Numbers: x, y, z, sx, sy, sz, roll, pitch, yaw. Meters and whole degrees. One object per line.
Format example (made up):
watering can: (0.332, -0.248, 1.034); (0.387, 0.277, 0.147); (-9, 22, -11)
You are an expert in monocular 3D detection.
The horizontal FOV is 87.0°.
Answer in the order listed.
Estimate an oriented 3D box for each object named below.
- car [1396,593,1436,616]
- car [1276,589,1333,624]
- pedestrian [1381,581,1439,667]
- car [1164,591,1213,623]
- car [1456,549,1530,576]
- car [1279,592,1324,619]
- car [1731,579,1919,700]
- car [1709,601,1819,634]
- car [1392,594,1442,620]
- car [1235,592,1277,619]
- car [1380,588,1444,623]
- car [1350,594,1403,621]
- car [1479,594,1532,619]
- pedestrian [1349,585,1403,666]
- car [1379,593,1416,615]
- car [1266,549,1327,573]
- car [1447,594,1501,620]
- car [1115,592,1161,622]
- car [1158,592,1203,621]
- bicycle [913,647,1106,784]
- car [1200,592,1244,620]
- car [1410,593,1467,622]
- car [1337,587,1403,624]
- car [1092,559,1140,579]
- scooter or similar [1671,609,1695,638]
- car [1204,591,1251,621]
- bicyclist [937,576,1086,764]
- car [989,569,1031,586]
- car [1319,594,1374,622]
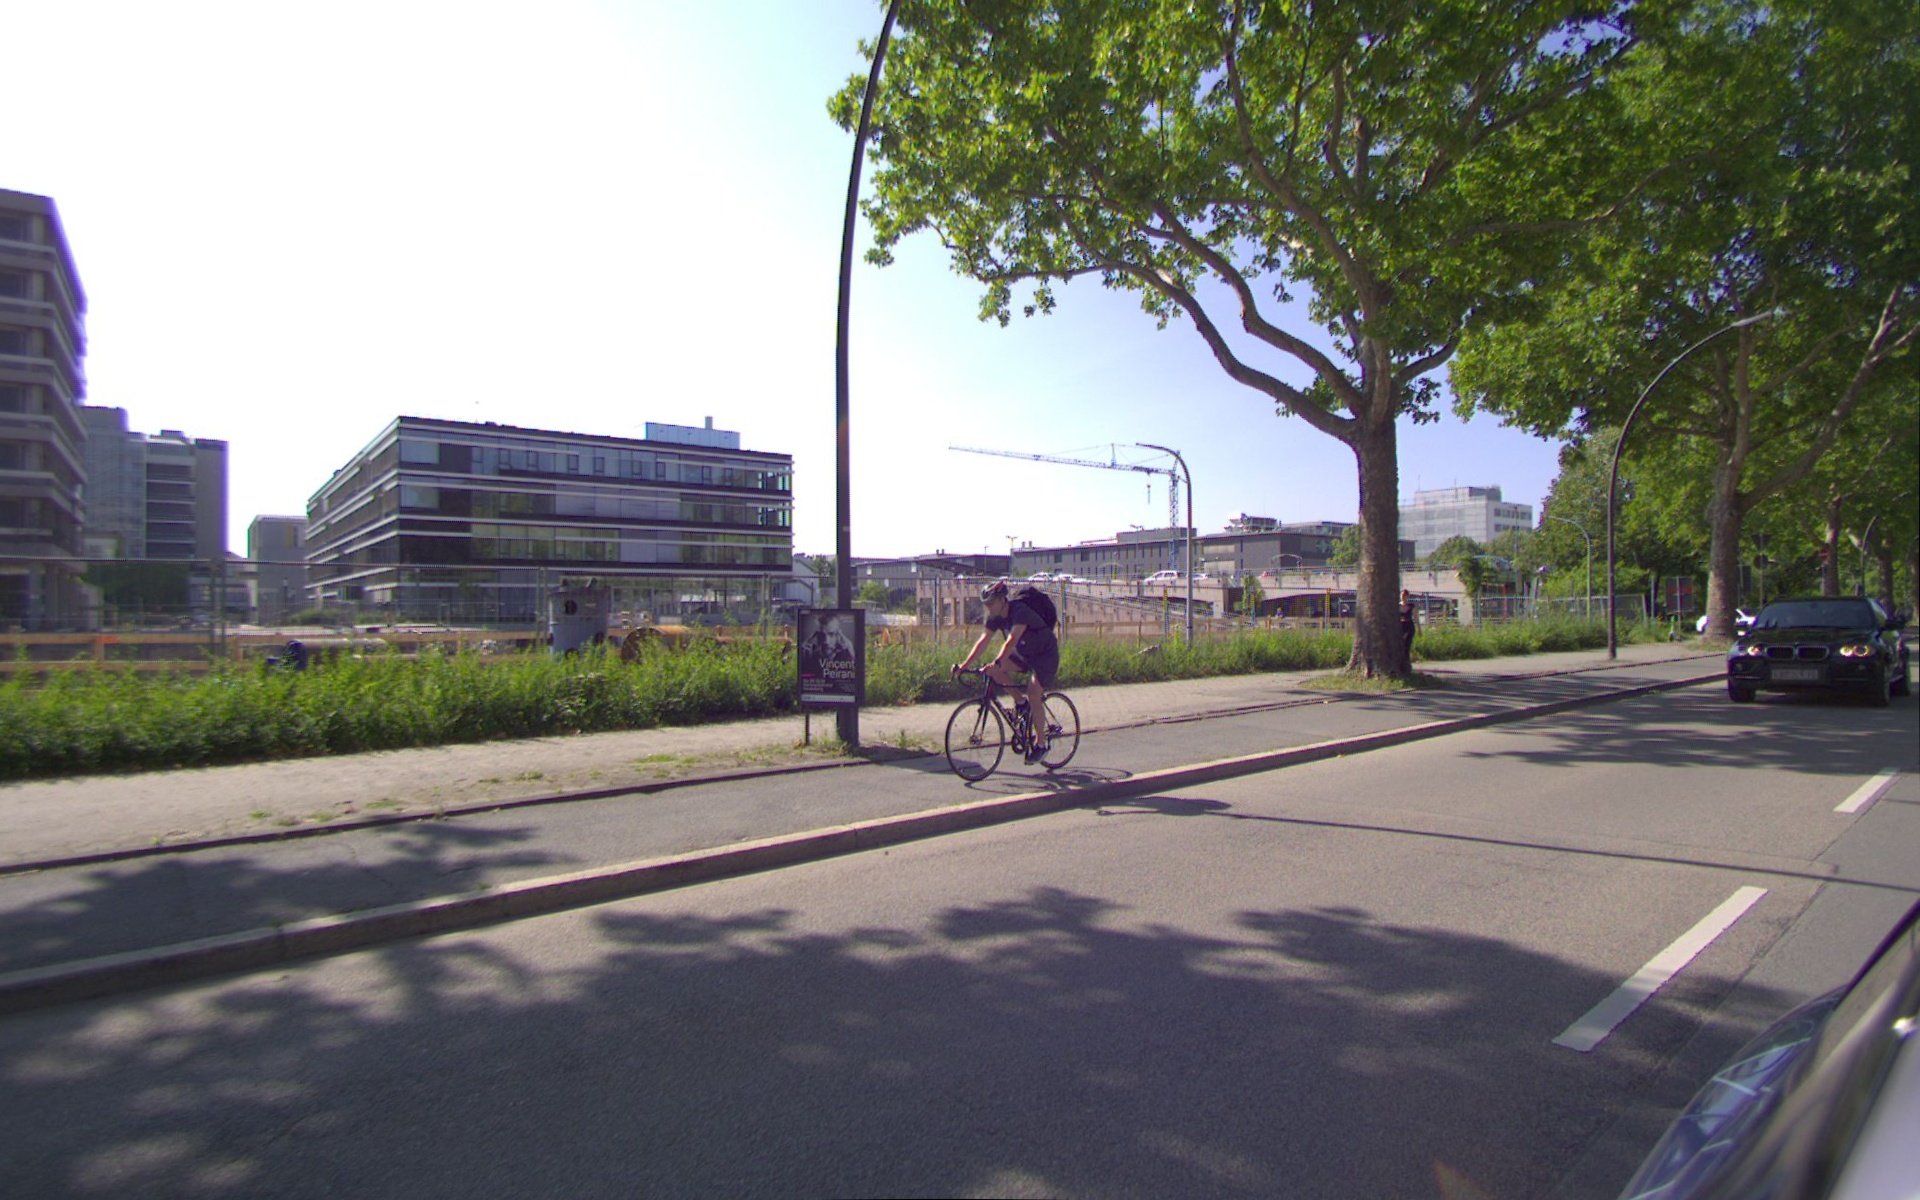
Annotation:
car: (55.337, 0.538, 122.884); (1.778, 2.774, 3.991); (1, -2, -43)
car: (27.984, 0.518, 82.273); (1.778, 2.774, 3.991); (1, -2, -43)
pedestrian: (9.390, 0.499, 21.111); (1.047, 1.746, 0.711); (1, -2, -42)
car: (20.438, 0.618, 90.543); (1.778, 2.774, 3.991); (1, -2, -43)
car: (35.521, -2.465, 67.470); (1.778, 1.529, 3.991); (1, -1, -43)
car: (35.320, 0.585, 104.654); (1.778, 2.774, 3.991); (1, -2, -43)
car: (14.422, 0.597, 16.683); (4.080, 1.753, 1.921); (0, -2, -42)
car: (37.130, 0.801, 46.876); (1.861, 1.427, 3.999); (-1, -1, 0)
car: (43.220, 0.690, 95.775); (1.778, 2.352, 3.991); (1, -2, -43)
car: (31.734, 0.634, 108.582); (1.778, 2.774, 3.991); (1, -2, -43)
car: (36.803, 0.472, 82.514); (1.778, 2.774, 4.367); (1, -2, -43)
car: (37.161, 0.706, 90.433); (1.778, 2.352, 3.991); (1, -2, -43)
car: (51.832, 0.628, 96.216); (1.778, 2.352, 3.991); (1, -2, -43)
pedestrian: (8.965, 0.548, 21.800); (0.942, 1.705, 0.696); (1, -2, -42)
car: (56.776, 0.574, 131.348); (1.778, 2.774, 3.991); (1, -2, -43)
car: (25.136, -2.893, 75.687); (1.778, 1.529, 3.991); (1, -1, -43)
car: (46.626, 0.643, 91.887); (1.778, 2.352, 3.991); (1, -2, -43)
car: (16.716, 0.670, 94.954); (1.778, 2.774, 3.991); (1, -2, -43)
car: (21.614, 0.658, 99.418); (1.778, 2.774, 3.991); (1, -2, -43)
bicycle: (0.466, 0.953, 8.815); (1.750, 0.992, 0.598); (0, 1, -42)
car: (26.857, 0.644, 103.860); (1.778, 2.774, 3.991); (1, -2, -43)
car: (40.871, 0.656, 86.458); (1.778, 2.352, 3.991); (1, -2, -43)
car: (31.561, 0.486, 78.012); (1.778, 2.774, 4.367); (1, -2, -43)
car: (13.674, -2.733, 88.854); (1.778, 1.529, 3.991); (1, -1, -43)
scooter or similar: (29.029, 0.923, 40.623); (1.108, 1.136, 0.482); (0, -2, -40)
car: (25.248, 0.610, 95.543); (1.778, 2.774, 3.991); (1, -2, -43)
bicyclist: (0.458, 0.562, 8.796); (1.194, 1.508, 0.599); (1, 1, -42)
car: (4.864, -2.180, 99.155); (1.778, 1.529, 3.991); (1, -1, -43)
car: (33.110, 0.716, 86.773); (1.778, 2.352, 3.991); (1, -2, -43)
